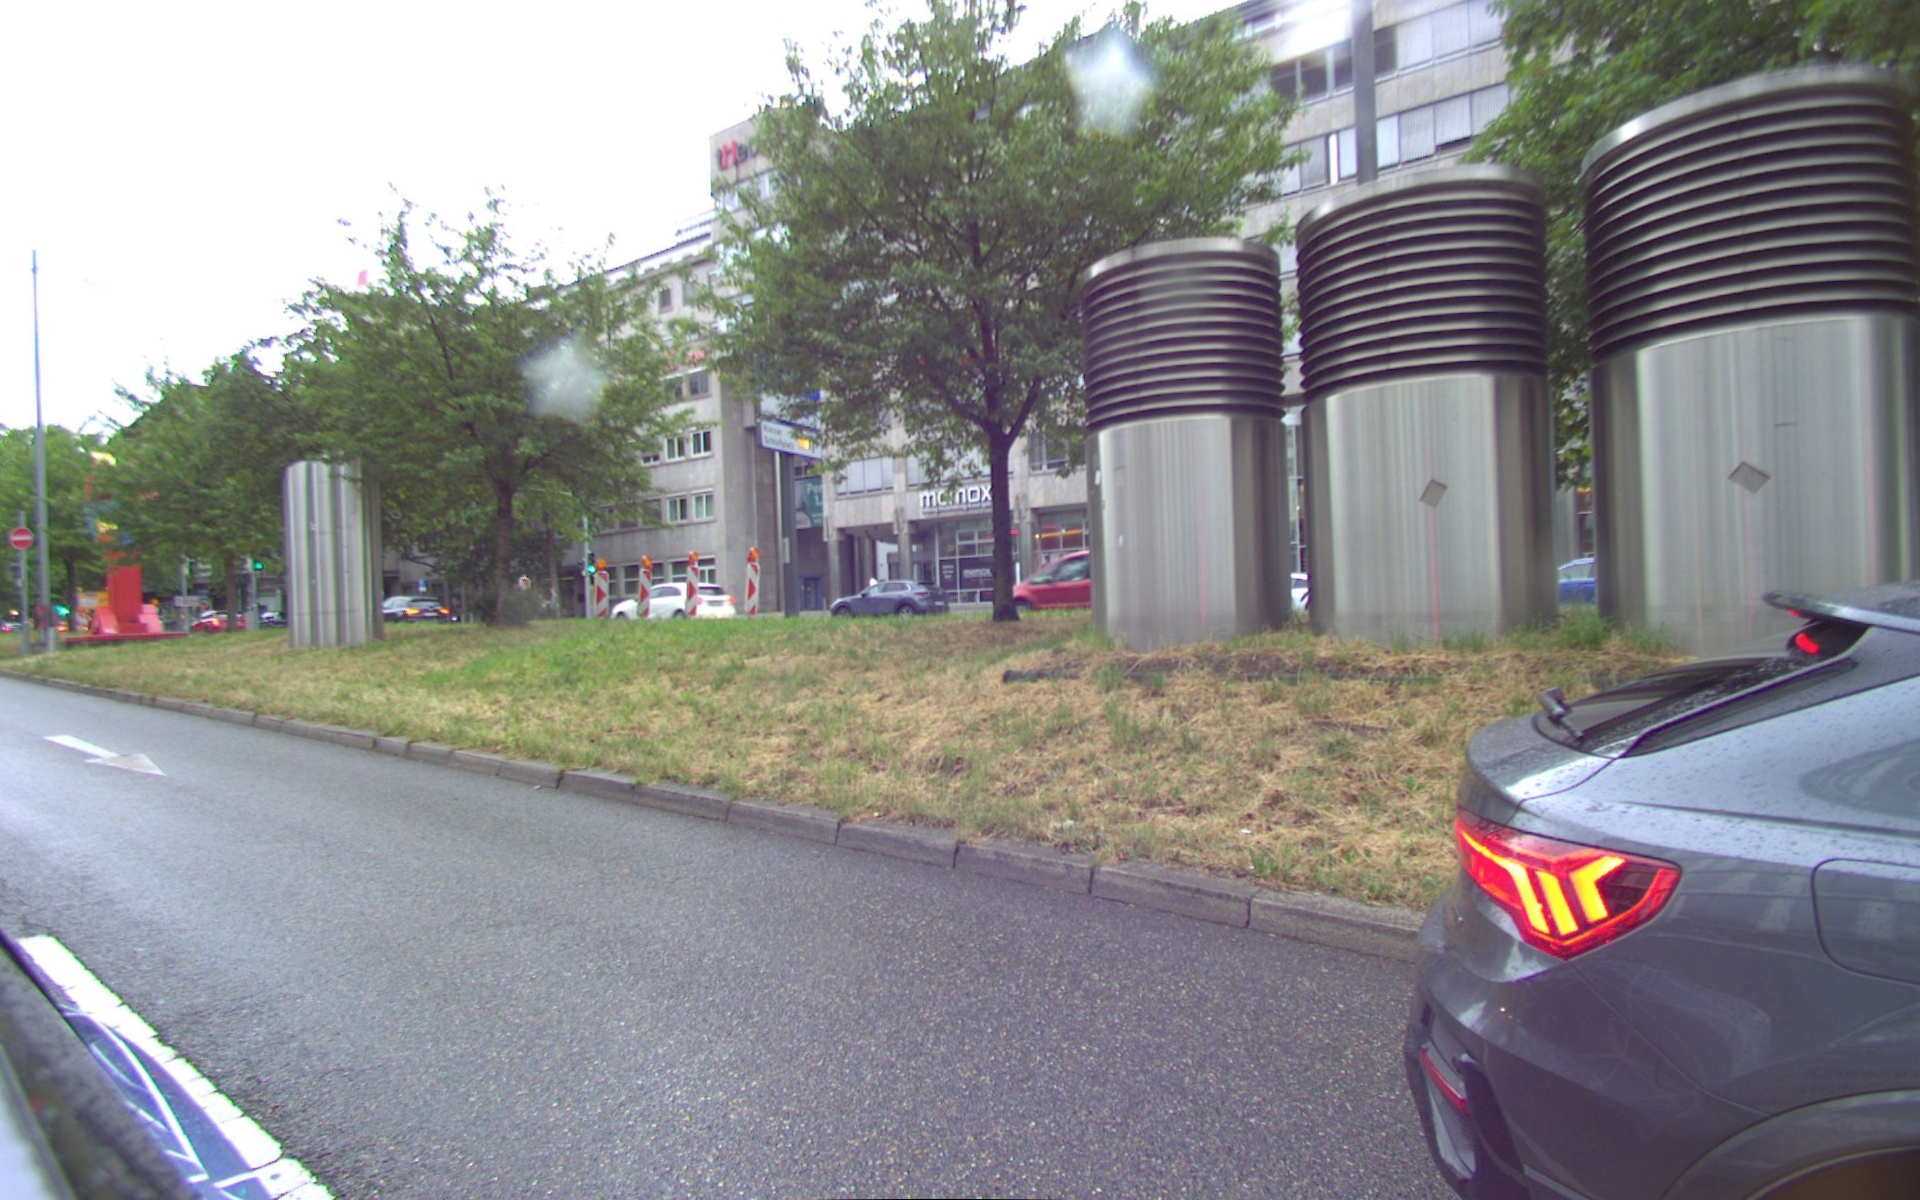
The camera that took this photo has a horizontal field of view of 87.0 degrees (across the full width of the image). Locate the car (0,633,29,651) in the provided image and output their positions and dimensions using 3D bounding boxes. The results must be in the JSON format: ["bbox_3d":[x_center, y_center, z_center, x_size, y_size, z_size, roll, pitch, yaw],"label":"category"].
[{"bbox_3d":[-83.976,3.720,89.457,4.561,1.440,1.843,-2,-1,40],"label":"car"}]

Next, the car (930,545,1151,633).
[{"bbox_3d":[1.723,-0.208,22.310,4.568,1.740,1.711,-2,0,33],"label":"car"}]

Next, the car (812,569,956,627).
[{"bbox_3d":[-2.586,-0.021,33.722,4.785,1.739,1.844,-2,-1,38],"label":"car"}]

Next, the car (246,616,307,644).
[{"bbox_3d":[-42.895,1.892,63.484,4.461,1.634,1.844,-2,-1,38],"label":"car"}]

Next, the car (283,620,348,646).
[{"bbox_3d":[-38.576,1.961,60.561,4.559,1.440,1.844,-2,-1,38],"label":"car"}]

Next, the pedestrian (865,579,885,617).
[{"bbox_3d":[-4.031,-0.094,47.934,0.528,1.801,0.712,-2,0,38],"label":"pedestrian"}]

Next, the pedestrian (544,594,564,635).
[{"bbox_3d":[-18.140,0.644,45.223,0.721,1.801,0.522,-2,0,42],"label":"pedestrian"}]

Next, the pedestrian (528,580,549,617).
[{"bbox_3d":[-18.999,-0.062,45.640,0.619,1.641,0.599,-2,0,41],"label":"pedestrian"}]

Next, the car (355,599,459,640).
[{"bbox_3d":[-21.544,0.752,39.399,3.987,1.486,1.853,-2,0,33],"label":"car"}]

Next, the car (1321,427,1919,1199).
[{"bbox_3d":[2.793,0.552,0.950,4.244,1.628,1.831,-2,0,37],"label":"car"}]

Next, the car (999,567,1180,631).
[{"bbox_3d":[3.647,-0.001,29.064,4.905,1.634,1.759,-2,-1,38],"label":"car"}]

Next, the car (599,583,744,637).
[{"bbox_3d":[-8.614,0.309,30.114,4.180,1.486,1.805,-2,0,33],"label":"car"}]

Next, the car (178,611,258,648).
[{"bbox_3d":[-37.444,1.489,51.062,3.987,1.713,1.930,-2,0,33],"label":"car"}]

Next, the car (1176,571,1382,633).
[{"bbox_3d":[8.053,0.086,25.799,4.677,1.412,1.759,-2,-1,38],"label":"car"}]

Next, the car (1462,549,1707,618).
[{"bbox_3d":[13.840,-0.336,22.625,4.465,1.335,1.876,-2,0,34],"label":"car"}]

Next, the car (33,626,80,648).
[{"bbox_3d":[-65.021,2.658,72.814,4.127,1.440,1.843,-2,-1,39],"label":"car"}]

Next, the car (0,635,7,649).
[{"bbox_3d":[-98.595,4.278,103.107,3.996,1.425,1.771,-2,-2,40],"label":"car"}]
